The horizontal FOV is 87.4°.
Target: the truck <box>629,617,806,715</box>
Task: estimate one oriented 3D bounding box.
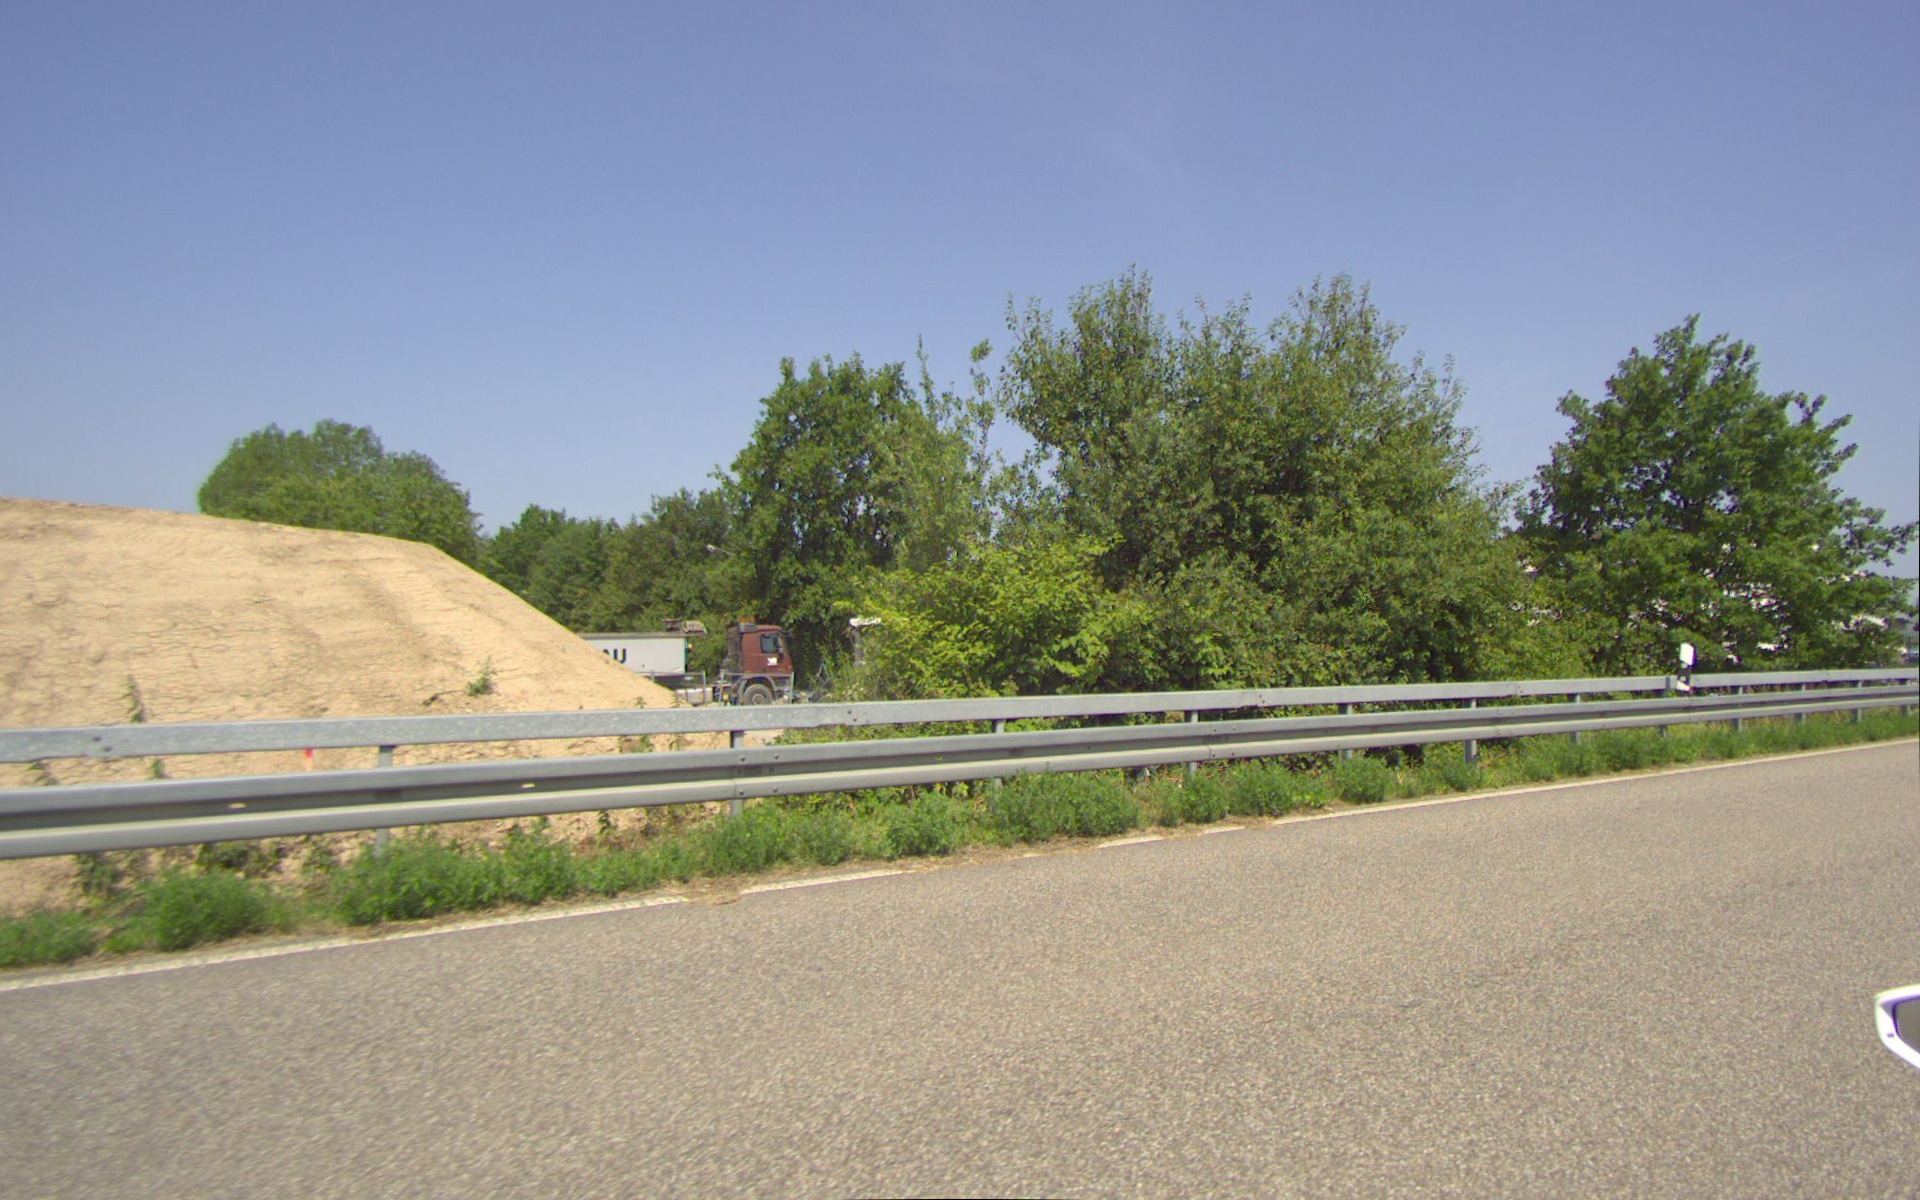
[{"bbox_3d":[-8.770,2.339,36.371,5.807,3.266,2.431,2,0,-27],"label":"truck"}]

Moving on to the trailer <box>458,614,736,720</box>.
[{"bbox_3d":[-12.347,2.234,34.529,8.695,3.266,2.430,2,0,-27],"label":"trailer"}]
